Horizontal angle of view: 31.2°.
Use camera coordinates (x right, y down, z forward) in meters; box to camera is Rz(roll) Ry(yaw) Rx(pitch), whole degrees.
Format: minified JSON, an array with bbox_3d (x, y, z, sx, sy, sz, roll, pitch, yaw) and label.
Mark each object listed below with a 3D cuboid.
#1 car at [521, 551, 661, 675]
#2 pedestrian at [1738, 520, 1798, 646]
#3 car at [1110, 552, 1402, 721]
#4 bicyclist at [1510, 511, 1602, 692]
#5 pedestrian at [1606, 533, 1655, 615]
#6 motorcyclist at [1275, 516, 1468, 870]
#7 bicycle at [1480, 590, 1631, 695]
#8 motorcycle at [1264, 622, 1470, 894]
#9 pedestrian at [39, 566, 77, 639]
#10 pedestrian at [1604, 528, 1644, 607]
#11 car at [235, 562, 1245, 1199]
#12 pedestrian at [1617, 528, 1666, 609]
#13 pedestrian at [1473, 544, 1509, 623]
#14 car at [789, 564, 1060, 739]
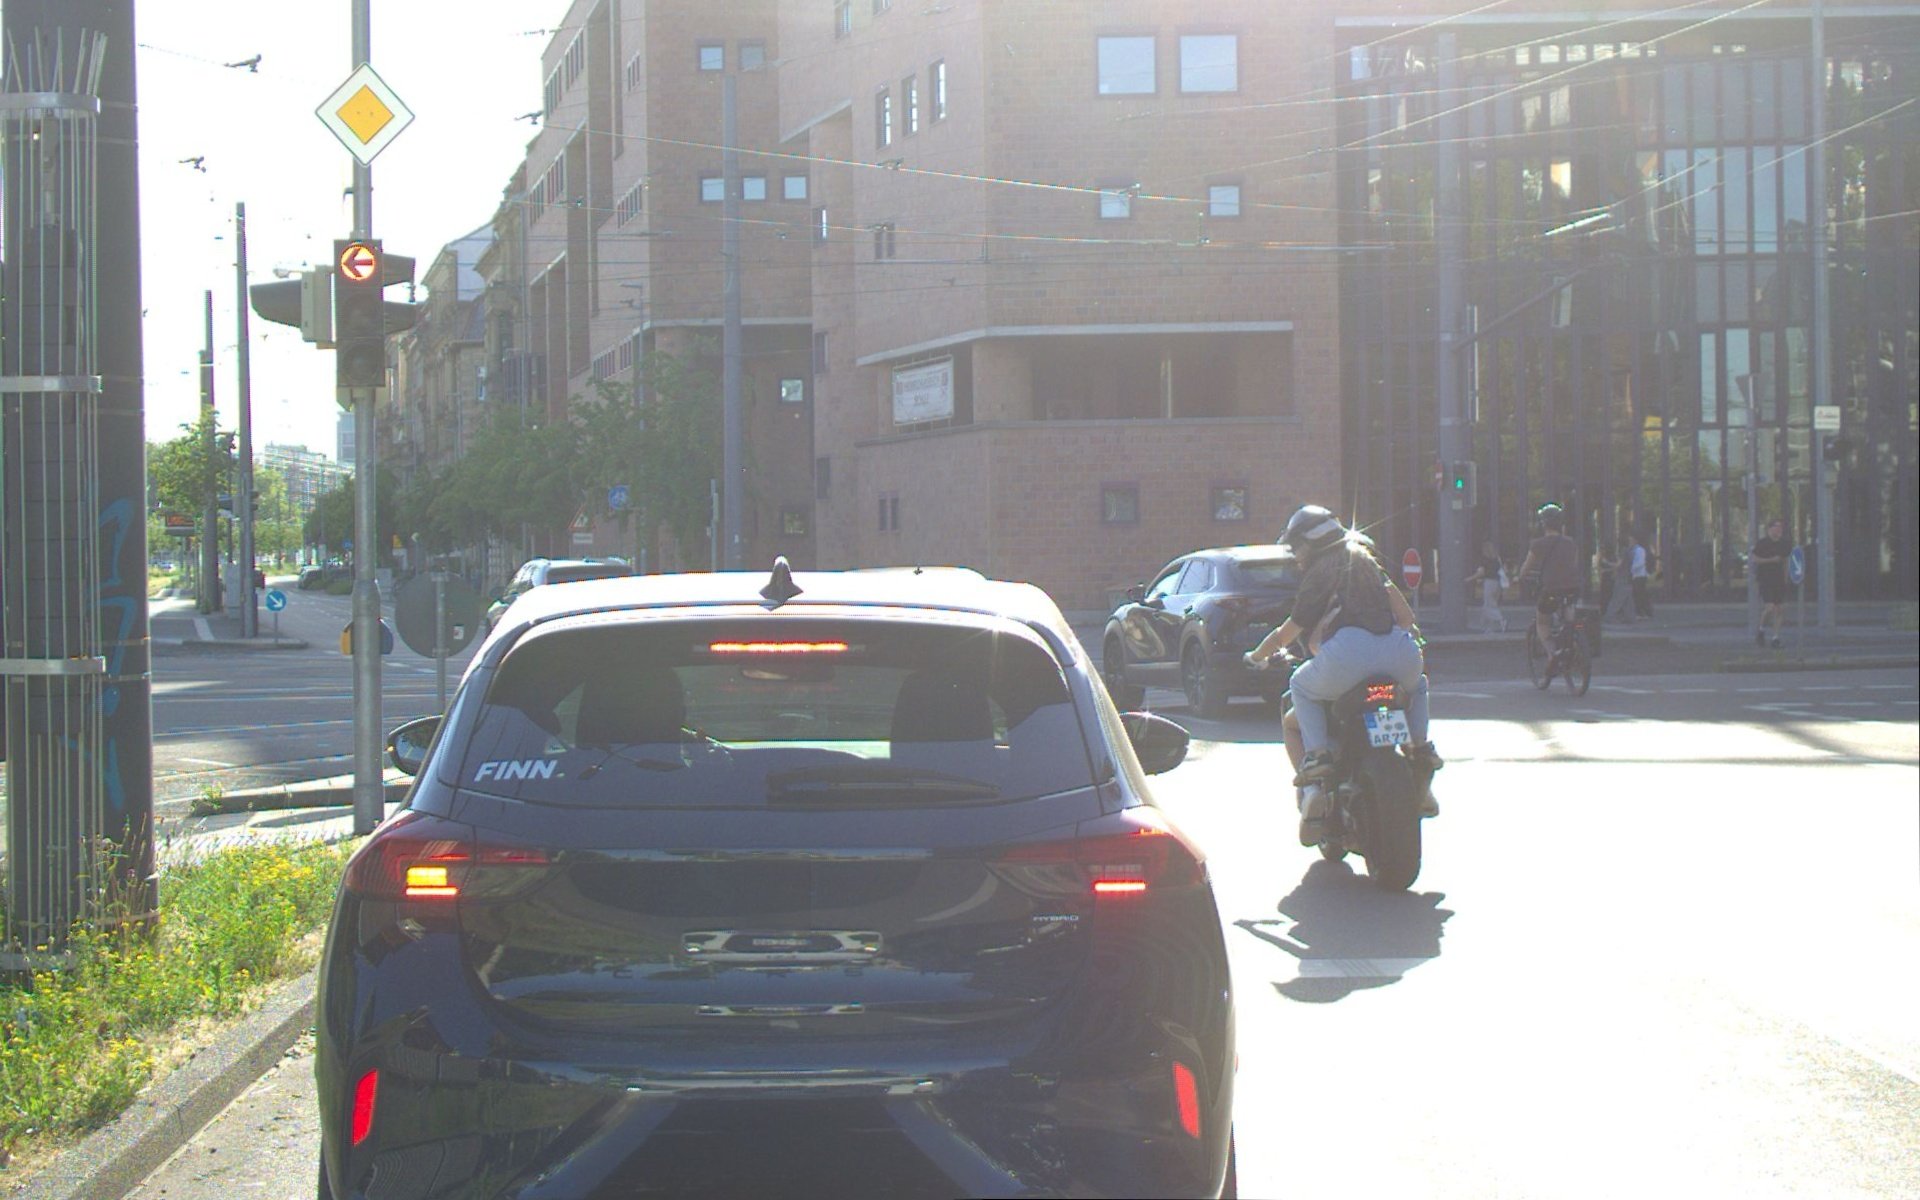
[{"bbox_3d":[-5.217,0.151,48.292,1.737,1.645,4.001,-1,1,-9],"label":"car"},{"bbox_3d":[11.381,-0.243,48.442,0.707,1.753,0.560,-1,1,25],"label":"pedestrian"},{"bbox_3d":[2.677,0.294,32.012,1.807,1.452,4.001,0,1,-9],"label":"car"},{"bbox_3d":[5.993,0.008,34.603,0.577,1.785,0.864,-1,1,-16],"label":"bicyclist"},{"bbox_3d":[13.301,-0.514,68.238,0.900,1.611,0.560,-1,1,8],"label":"pedestrian"},{"bbox_3d":[1.826,0.395,15.386,0.745,1.525,1.021,-1,1,1],"label":"motorcyclist"},{"bbox_3d":[5.973,0.407,34.620,0.491,0.994,2.329,-1,1,-17],"label":"bicycle"},{"bbox_3d":[1.835,0.685,15.742,0.775,1.111,1.969,-1,1,2],"label":"motorcycle"},{"bbox_3d":[-20.355,0.050,77.601,0.765,1.634,0.744,-1,1,-12],"label":"pedestrian"},{"bbox_3d":[13.533,-0.664,70.084,0.738,1.611,0.560,-1,1,8],"label":"pedestrian"},{"bbox_3d":[-0.342,0.647,7.654,1.649,1.428,4.000,-1,1,1],"label":"car"},{"bbox_3d":[13.670,-0.632,68.975,0.900,1.611,0.560,-1,1,8],"label":"pedestrian"},{"bbox_3d":[9.611,-0.302,62.251,0.529,1.425,0.598,-1,1,-1],"label":"pedestrian"},{"bbox_3d":[-0.372,0.384,29.165,1.737,1.345,4.001,-1,1,-9],"label":"car"}]
